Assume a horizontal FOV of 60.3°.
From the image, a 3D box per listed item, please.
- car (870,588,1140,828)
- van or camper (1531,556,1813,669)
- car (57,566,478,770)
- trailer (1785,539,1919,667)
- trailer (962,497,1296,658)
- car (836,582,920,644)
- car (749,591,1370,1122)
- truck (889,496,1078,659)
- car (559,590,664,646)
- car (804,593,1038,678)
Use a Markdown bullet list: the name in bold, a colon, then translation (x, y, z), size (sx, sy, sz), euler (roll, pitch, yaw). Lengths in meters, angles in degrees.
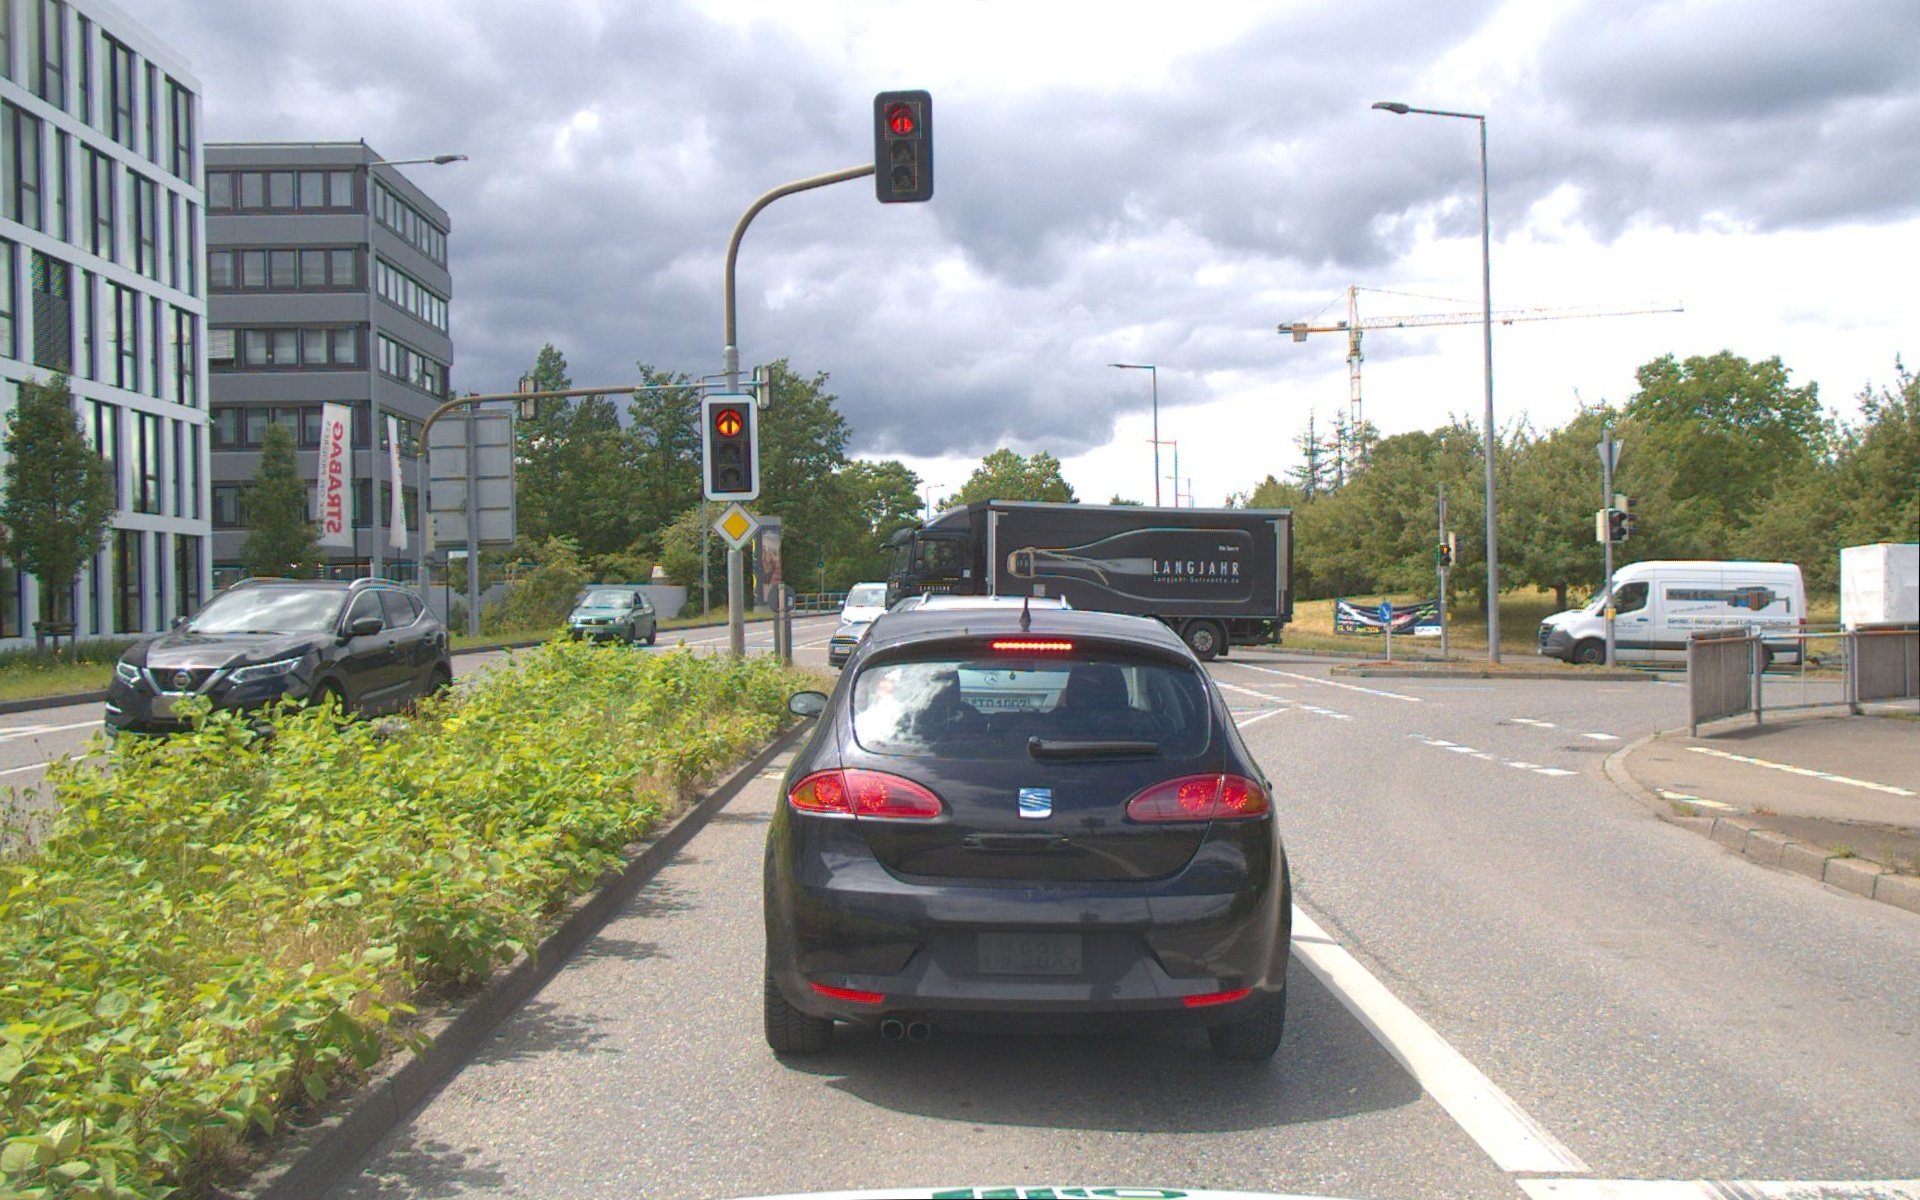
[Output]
- **car**: translation (0.208, 0.692, 12.578), size (1.738, 1.517, 3.580), euler (-1, 0, -3)
- **van or camper**: translation (16.745, 0.268, 39.230), size (5.790, 2.577, 2.251), euler (0, 0, 11)
- **car**: translation (-6.325, 0.555, 15.738), size (1.952, 1.644, 4.320), euler (-1, 0, 4)
- **trailer**: translation (22.405, 0.053, 38.122), size (5.643, 2.855, 2.249), euler (-1, 0, 11)
- **trailer**: translation (3.882, -0.506, 38.110), size (7.456, 3.519, 1.993), euler (0, 0, -14)
- **car**: translation (-2.224, 0.326, 45.799), size (1.952, 1.624, 4.001), euler (0, 0, 2)
- **car**: translation (0.255, 0.713, 6.434), size (1.737, 1.477, 3.581), euler (0, 0, -1)
- **truck**: translation (0.505, -0.497, 37.209), size (3.918, 3.530, 1.994), euler (0, 0, -13)
- **car**: translation (-9.027, 0.433, 43.174), size (1.953, 1.375, 3.999), euler (0, 0, -1)
- **car**: translation (-0.681, 0.607, 30.417), size (3.960, 1.445, 1.973), euler (0, 1, -39)
